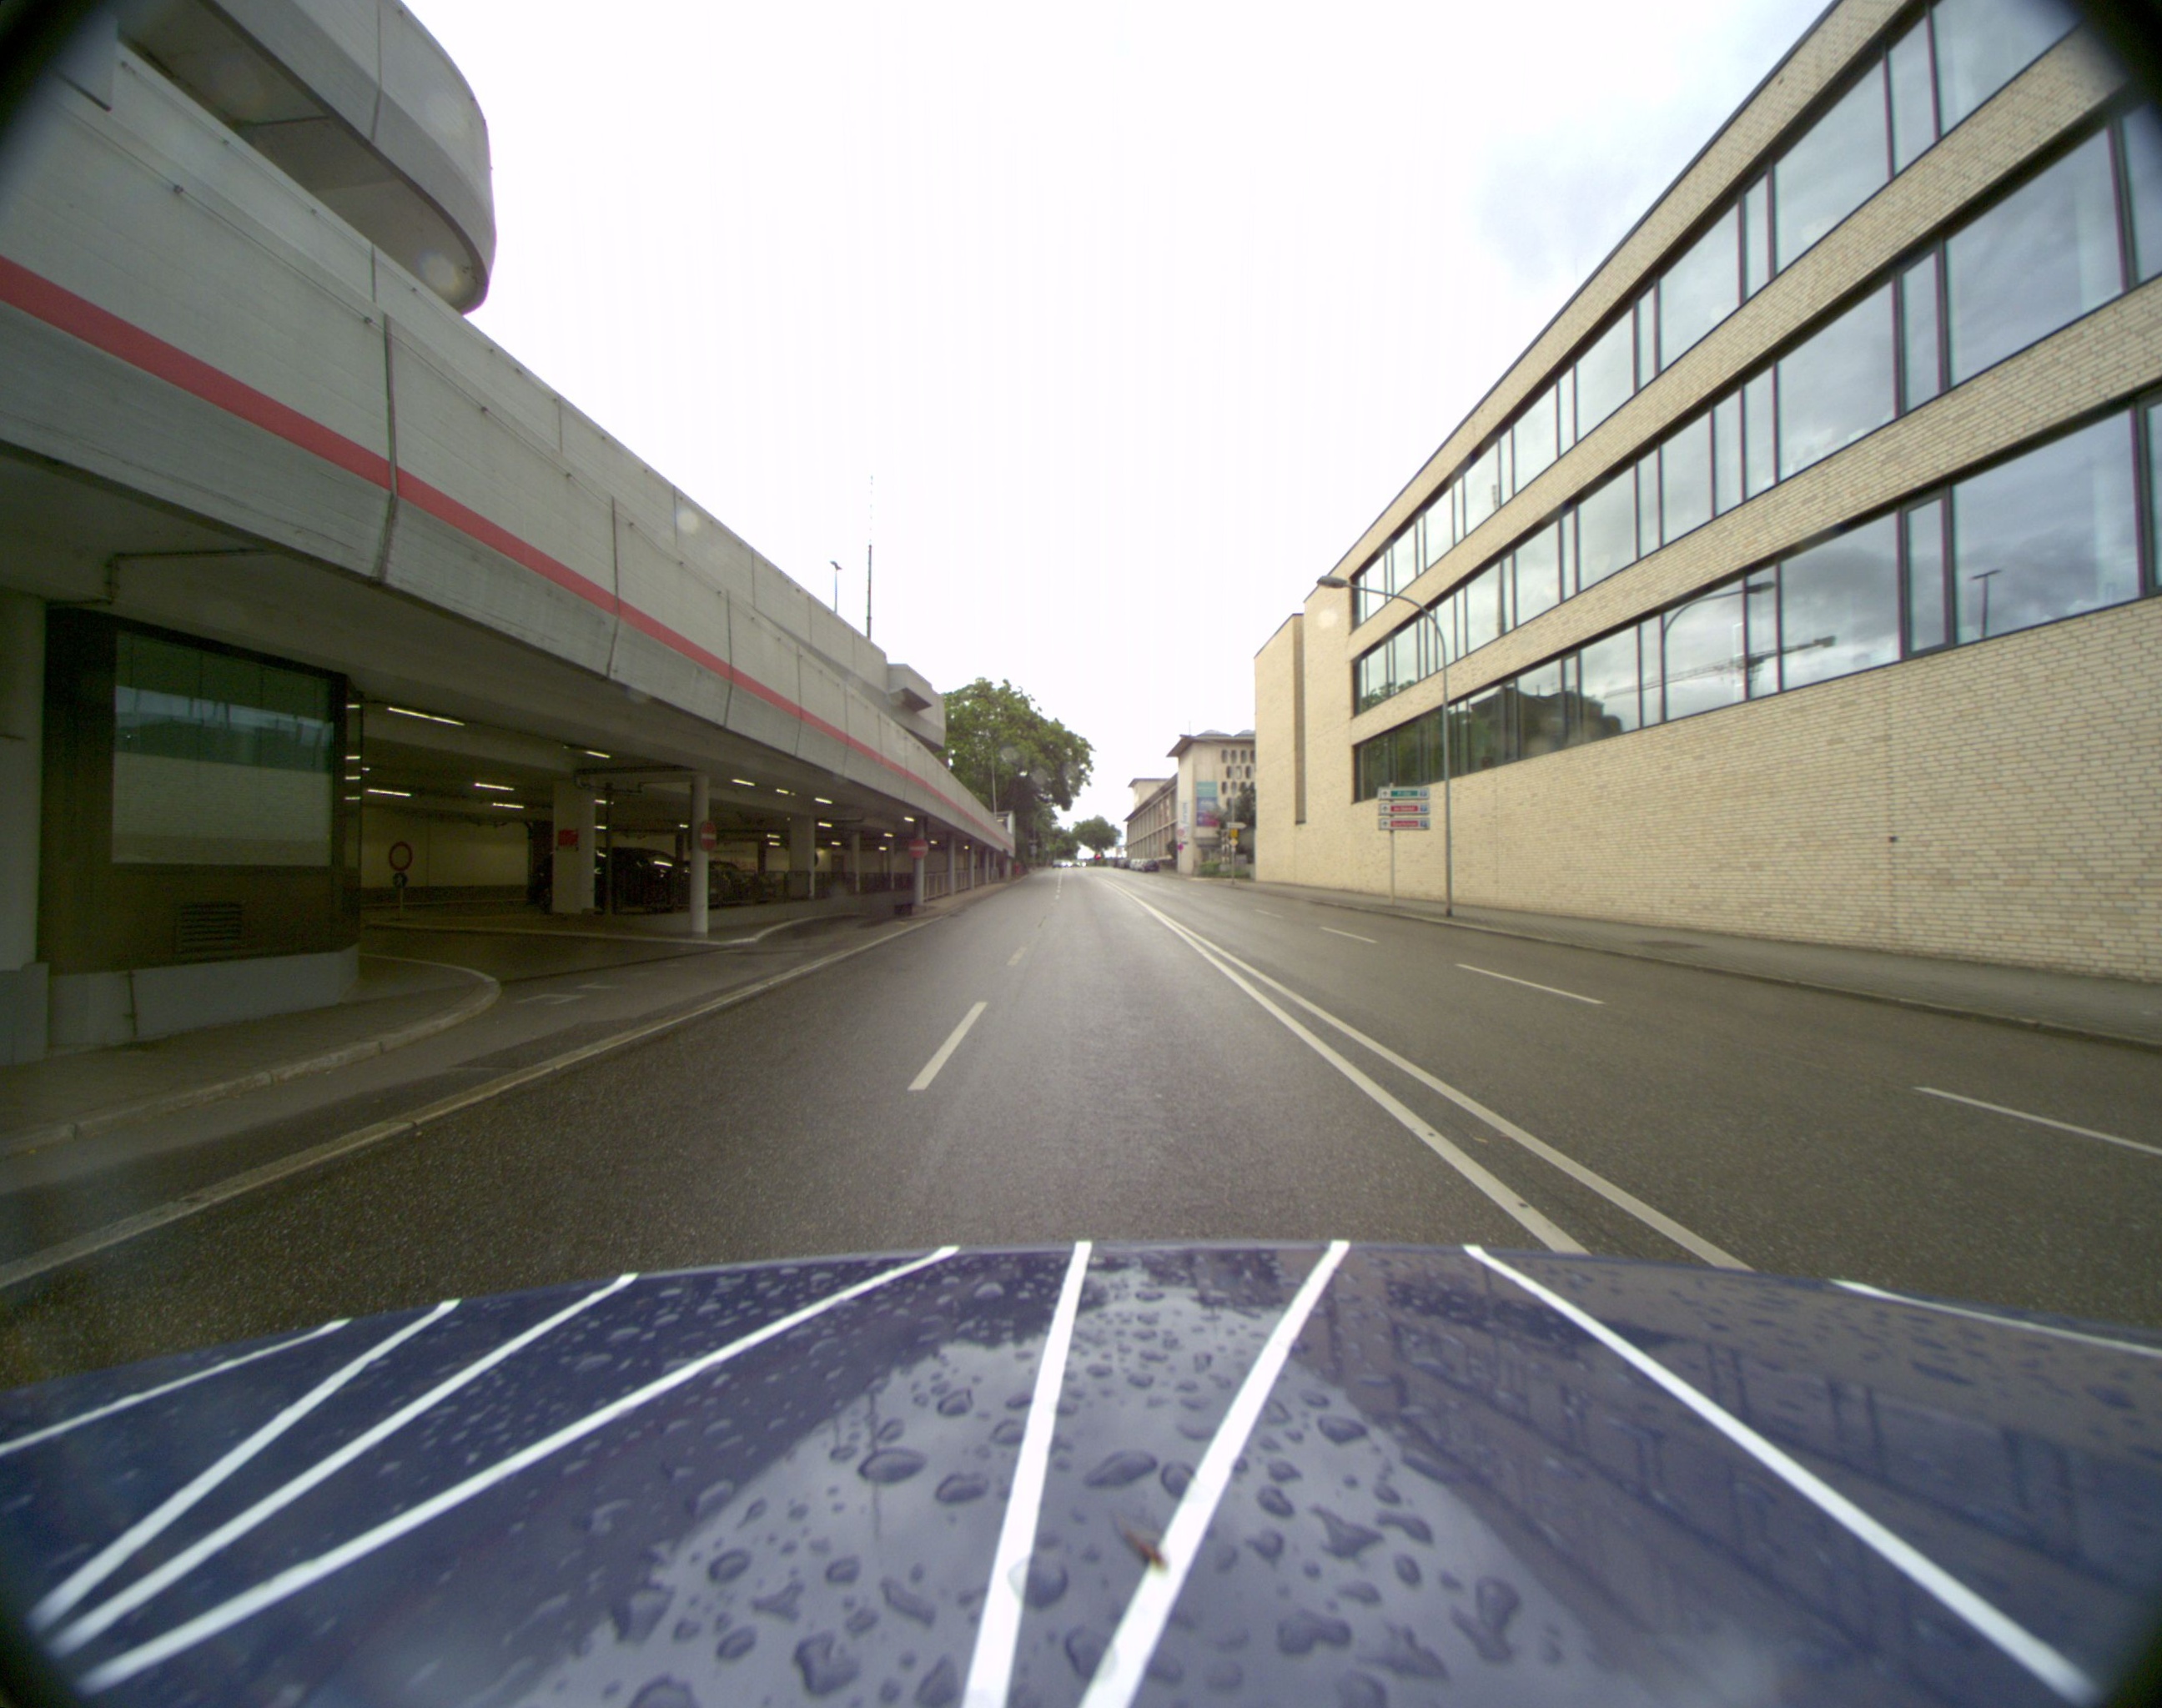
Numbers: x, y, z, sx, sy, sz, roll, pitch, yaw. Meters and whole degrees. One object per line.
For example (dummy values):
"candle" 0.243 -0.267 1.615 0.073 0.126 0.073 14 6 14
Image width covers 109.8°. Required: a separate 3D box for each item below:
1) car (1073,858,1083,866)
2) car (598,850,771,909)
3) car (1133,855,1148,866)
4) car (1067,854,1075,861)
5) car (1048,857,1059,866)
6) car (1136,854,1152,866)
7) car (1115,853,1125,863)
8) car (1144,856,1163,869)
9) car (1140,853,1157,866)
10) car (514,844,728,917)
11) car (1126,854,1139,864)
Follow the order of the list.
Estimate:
"car" -0.658 1.585 151.472 1.852 1.516 3.990 -2 -1 1
"car" -11.918 0.825 22.991 4.251 1.650 2.003 -1 -4 10
"car" 8.370 0.920 106.769 1.800 1.516 4.056 -2 -1 1
"car" -2.400 0.894 185.138 1.727 1.628 3.999 -2 1 1
"car" -4.856 1.374 136.464 1.683 1.516 3.990 -2 -1 1
"car" 8.363 0.812 101.740 1.800 1.516 4.056 -2 -1 1
"car" 7.235 0.754 142.589 1.698 1.715 3.756 -2 1 1
"car" 8.649 1.043 90.984 1.800 1.516 4.056 -2 -1 1
"car" 8.515 0.729 96.592 1.800 1.516 4.056 -2 -1 1
"car" -11.387 0.701 18.967 4.251 1.650 2.003 -1 -4 10
"car" 8.275 0.769 121.745 1.800 1.516 4.056 -2 -1 1
